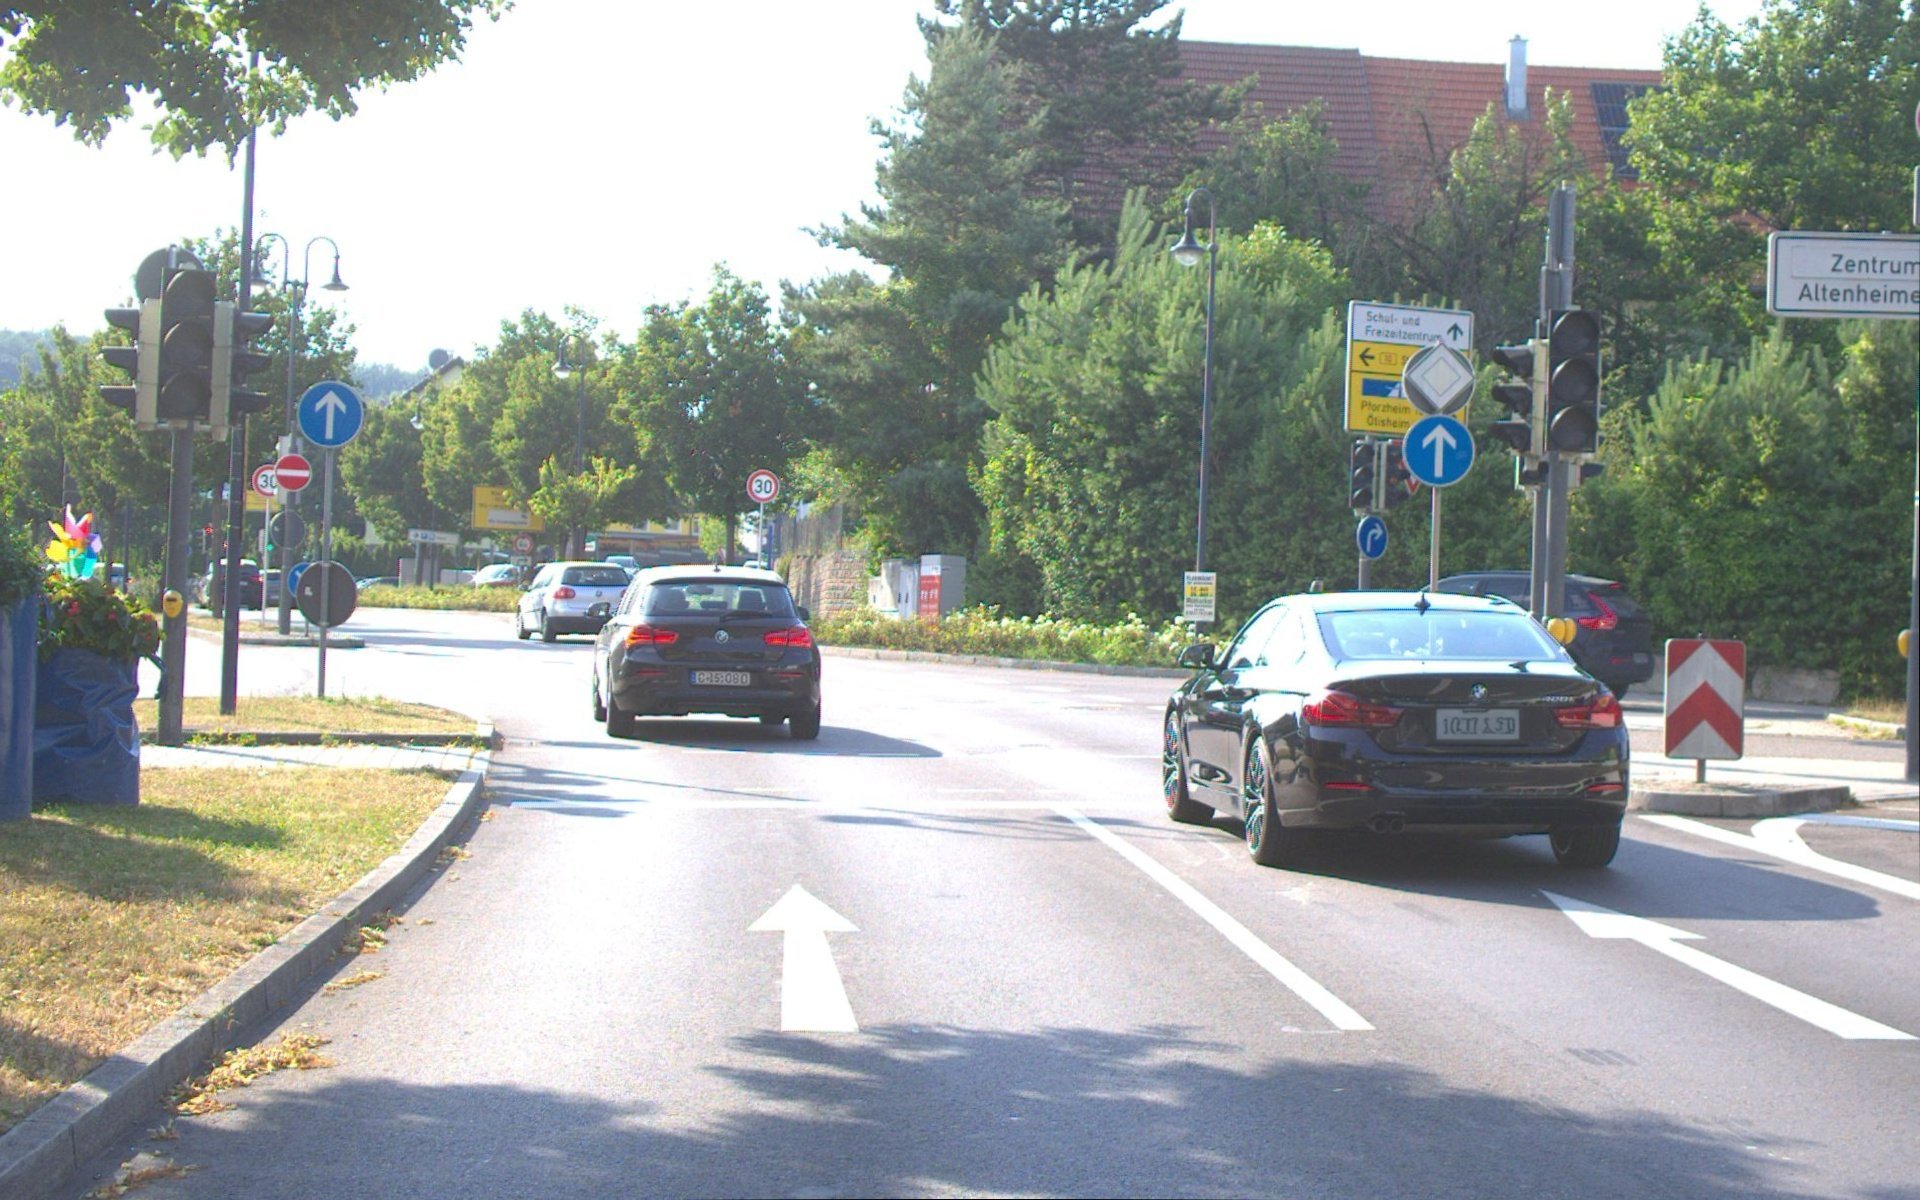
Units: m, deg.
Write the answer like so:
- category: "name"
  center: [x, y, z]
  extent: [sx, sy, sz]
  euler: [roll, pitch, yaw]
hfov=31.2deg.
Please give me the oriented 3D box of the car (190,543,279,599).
- category: "car"
  center: [-23.664, -0.959, 112.048]
  extent: [2.216, 1.763, 4.455]
  euler: [1, 0, -20]

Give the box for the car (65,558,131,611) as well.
- category: "car"
  center: [-29.528, -0.549, 117.713]
  extent: [1.755, 1.763, 3.972]
  euler: [1, 0, -20]

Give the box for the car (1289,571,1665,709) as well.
- category: "car"
  center: [6.453, 0.469, 43.049]
  extent: [4.265, 1.561, 1.789]
  euler: [2, 1, 32]

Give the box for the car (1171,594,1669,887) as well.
- category: "car"
  center: [2.321, 0.663, 18.503]
  extent: [1.920, 1.359, 4.353]
  euler: [1, 0, -2]

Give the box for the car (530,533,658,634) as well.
- category: "car"
  center: [-6.775, -0.310, 63.247]
  extent: [1.924, 1.763, 4.455]
  euler: [1, 0, -11]

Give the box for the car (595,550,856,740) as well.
- category: "car"
  center: [-1.959, 0.351, 29.926]
  extent: [1.721, 1.485, 4.352]
  euler: [2, 0, 3]
